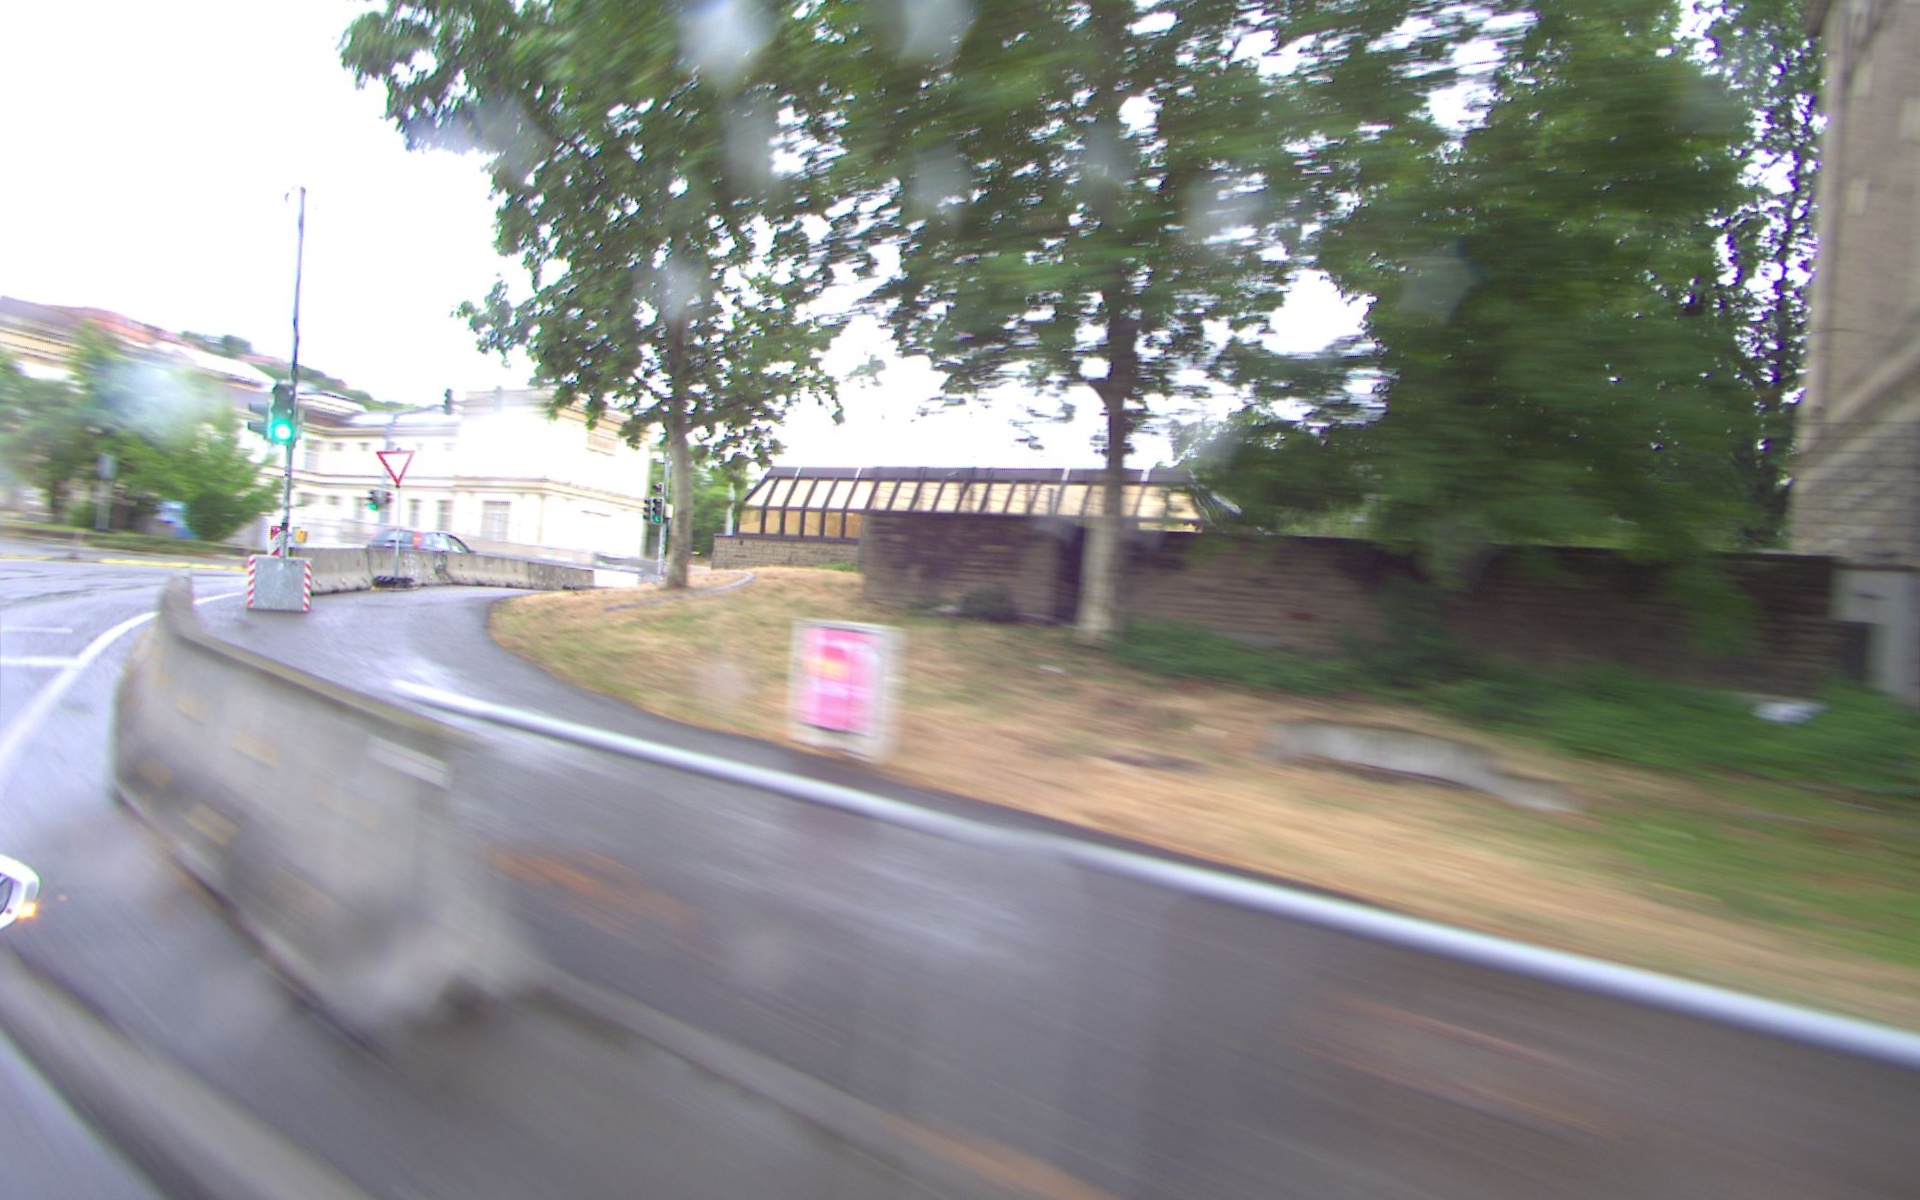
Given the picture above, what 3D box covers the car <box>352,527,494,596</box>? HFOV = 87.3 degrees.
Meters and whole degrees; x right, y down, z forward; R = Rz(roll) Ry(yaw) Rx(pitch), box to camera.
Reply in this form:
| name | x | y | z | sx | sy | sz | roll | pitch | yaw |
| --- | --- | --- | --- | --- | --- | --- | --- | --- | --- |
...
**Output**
| name | x | y | z | sx | sy | sz | roll | pitch | yaw |
| --- | --- | --- | --- | --- | --- | --- | --- | --- | --- |
| car | -14.518 | -0.981 | 27.441 | 1.644 | 1.444 | 3.759 | 7 | -1 | 1 |
